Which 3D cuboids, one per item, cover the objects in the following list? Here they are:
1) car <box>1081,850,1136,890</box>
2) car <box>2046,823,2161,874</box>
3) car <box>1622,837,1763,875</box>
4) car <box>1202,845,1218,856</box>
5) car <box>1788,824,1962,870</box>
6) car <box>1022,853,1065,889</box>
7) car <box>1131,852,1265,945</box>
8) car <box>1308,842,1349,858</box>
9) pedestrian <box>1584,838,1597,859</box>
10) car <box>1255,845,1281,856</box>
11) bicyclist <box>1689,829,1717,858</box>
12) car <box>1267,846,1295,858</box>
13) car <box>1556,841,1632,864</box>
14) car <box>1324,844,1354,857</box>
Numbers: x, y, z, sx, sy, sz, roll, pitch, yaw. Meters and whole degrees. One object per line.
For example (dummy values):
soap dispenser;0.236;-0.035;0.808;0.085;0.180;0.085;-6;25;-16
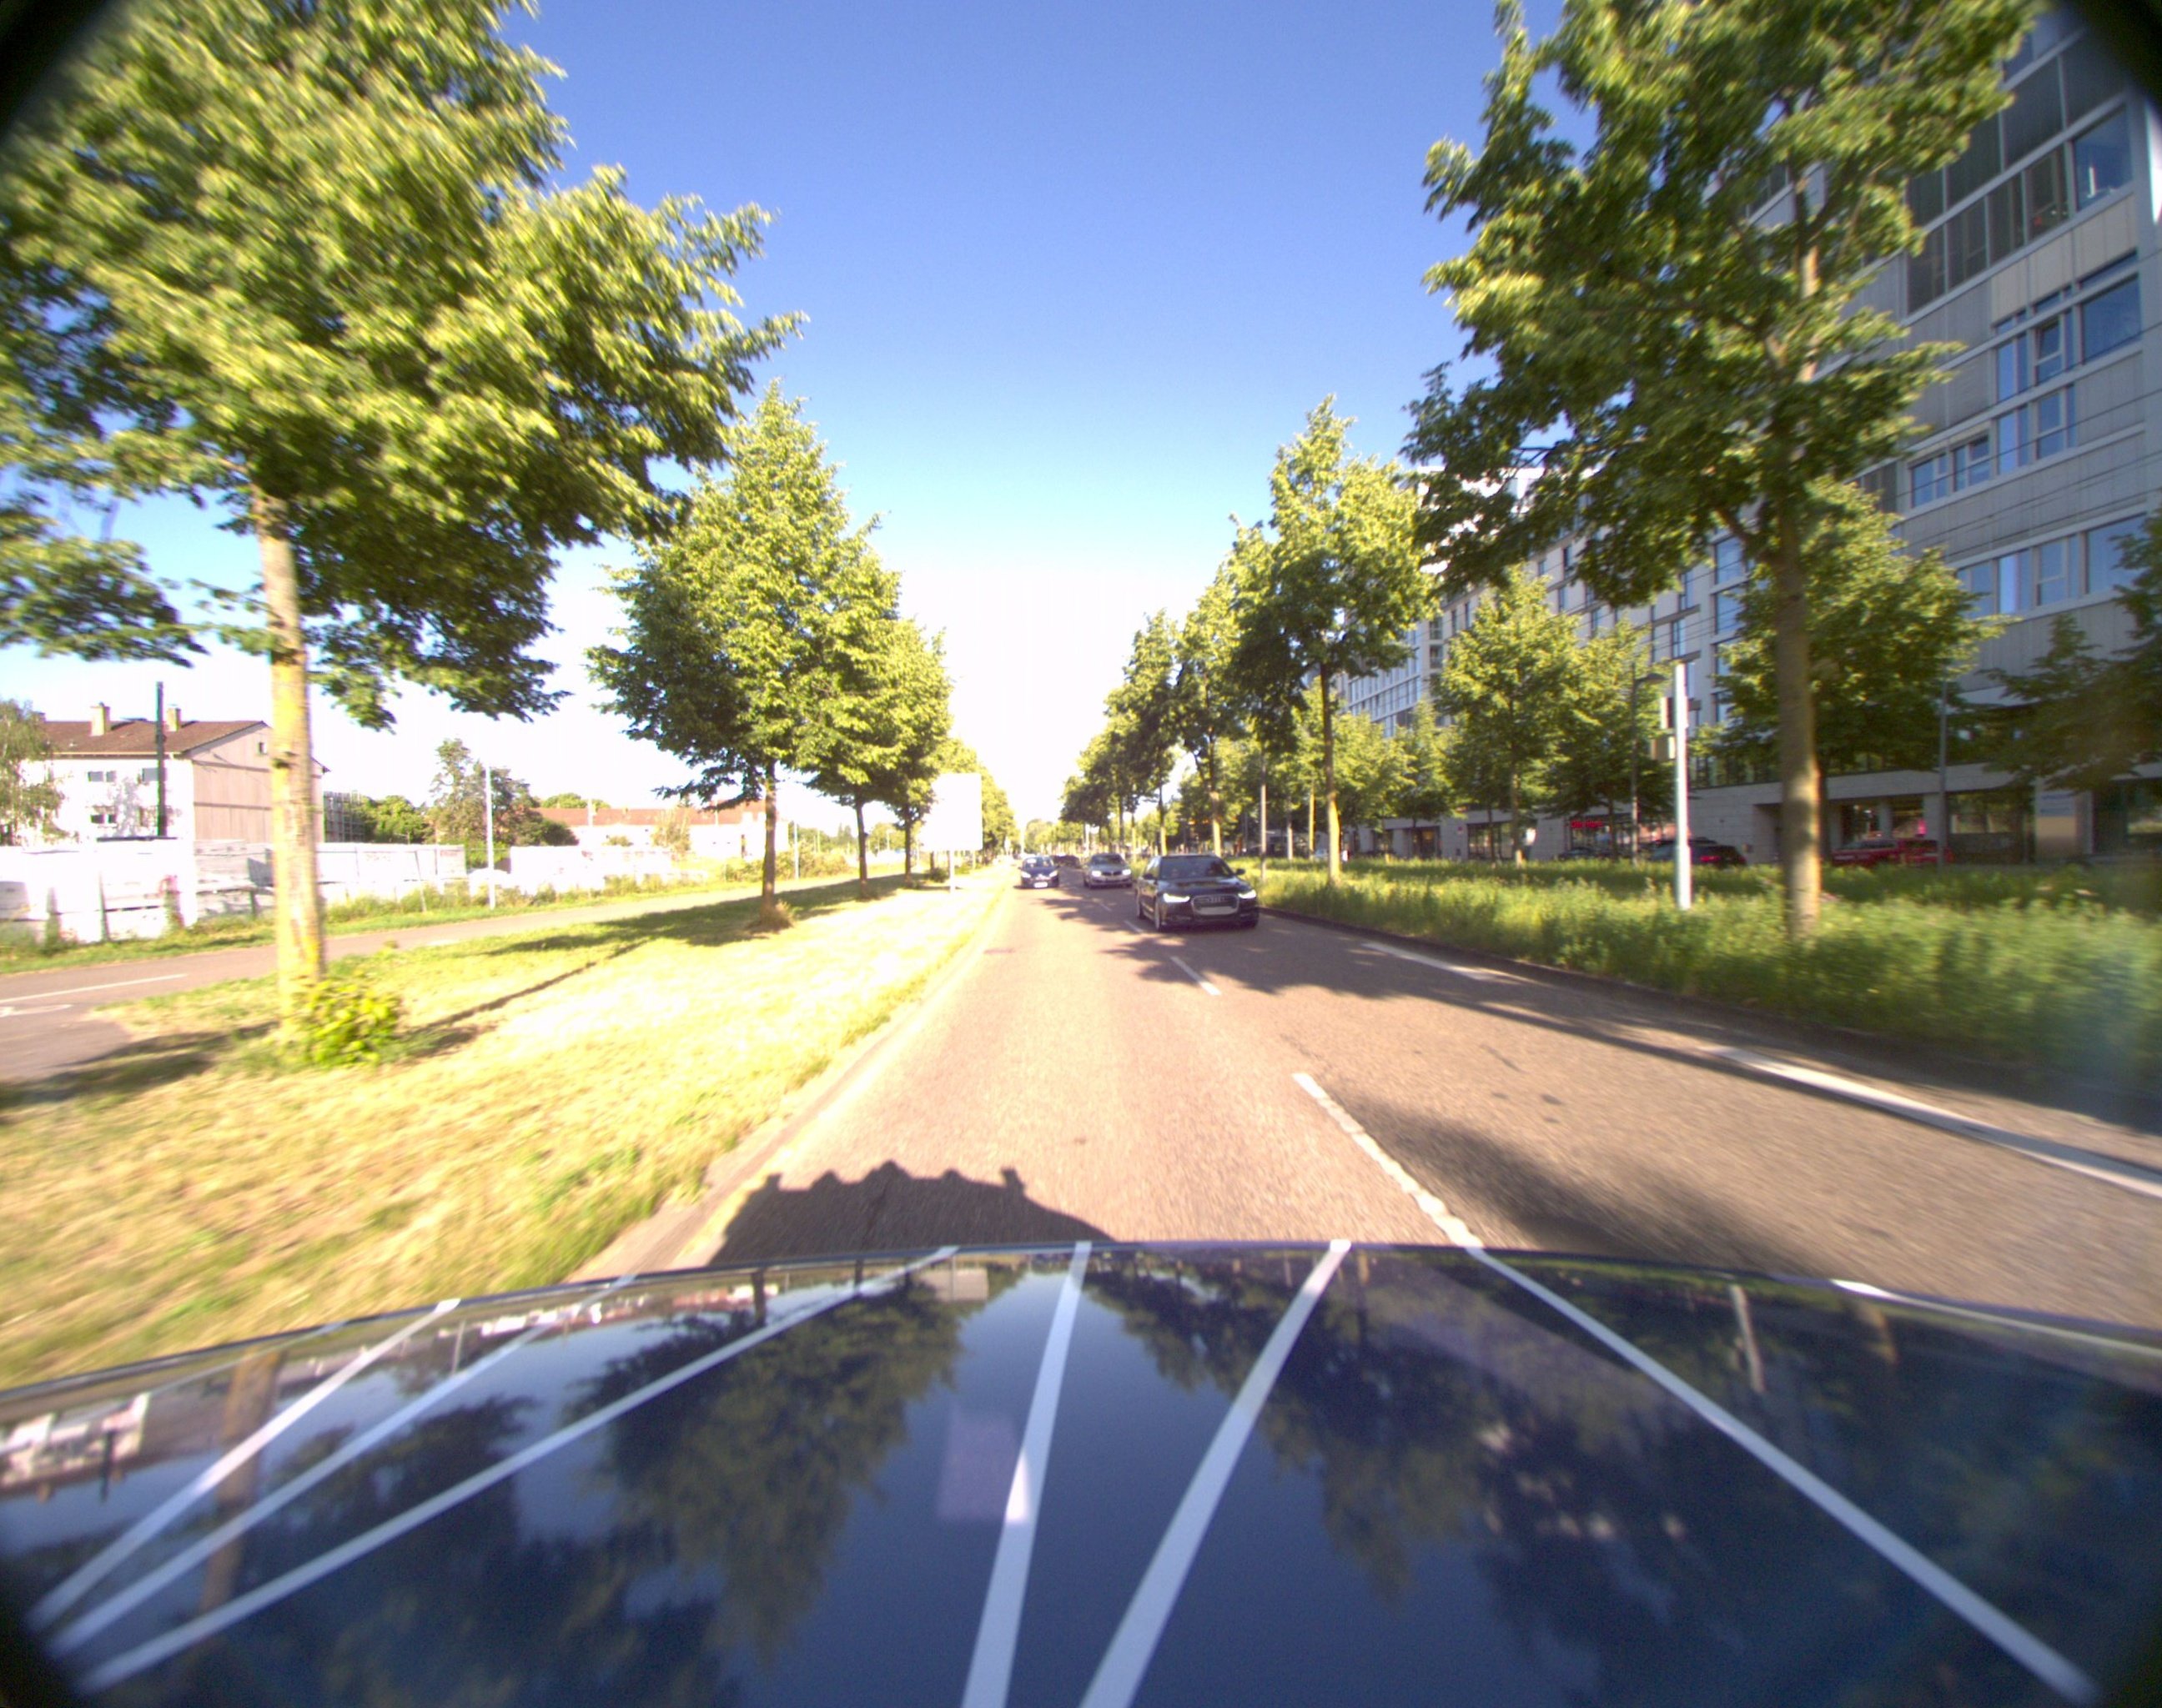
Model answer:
car;1.117;0.632;33.174;1.850;1.560;4.526;-2;0;-5
car;30.761;-0.167;21.226;1.720;1.412;4.543;-2;0;-4
car;22.389;0.065;28.033;1.803;1.256;3.998;-2;0;-4
car;22.661;-0.638;133.398;1.805;1.915;3.997;-2;2;-3
car;33.977;-0.267;32.789;1.803;1.766;5.126;-3;0;-6
car;-1.803;0.734;35.401;1.764;1.506;3.945;-2;1;-6
car;2.194;0.769;15.504;1.789;1.518;4.599;-2;1;-2
car;21.611;-0.340;66.485;1.803;1.284;4.309;-1;-1;-5
pedestrian;35.066;-0.405;52.324;0.409;1.405;0.690;-2;3;-4
car;24.753;-0.463;100.664;1.964;1.412;4.543;-2;1;-4
bicyclist;31.945;-0.555;39.032;0.722;1.455;0.831;-2;1;-2
car;25.115;-0.323;95.569;2.004;1.412;4.543;-2;1;-4
car;29.119;-0.066;43.260;1.673;1.200;3.582;-2;0;-5
car;26.573;-0.350;78.260;1.655;1.228;3.463;-2;2;-5
